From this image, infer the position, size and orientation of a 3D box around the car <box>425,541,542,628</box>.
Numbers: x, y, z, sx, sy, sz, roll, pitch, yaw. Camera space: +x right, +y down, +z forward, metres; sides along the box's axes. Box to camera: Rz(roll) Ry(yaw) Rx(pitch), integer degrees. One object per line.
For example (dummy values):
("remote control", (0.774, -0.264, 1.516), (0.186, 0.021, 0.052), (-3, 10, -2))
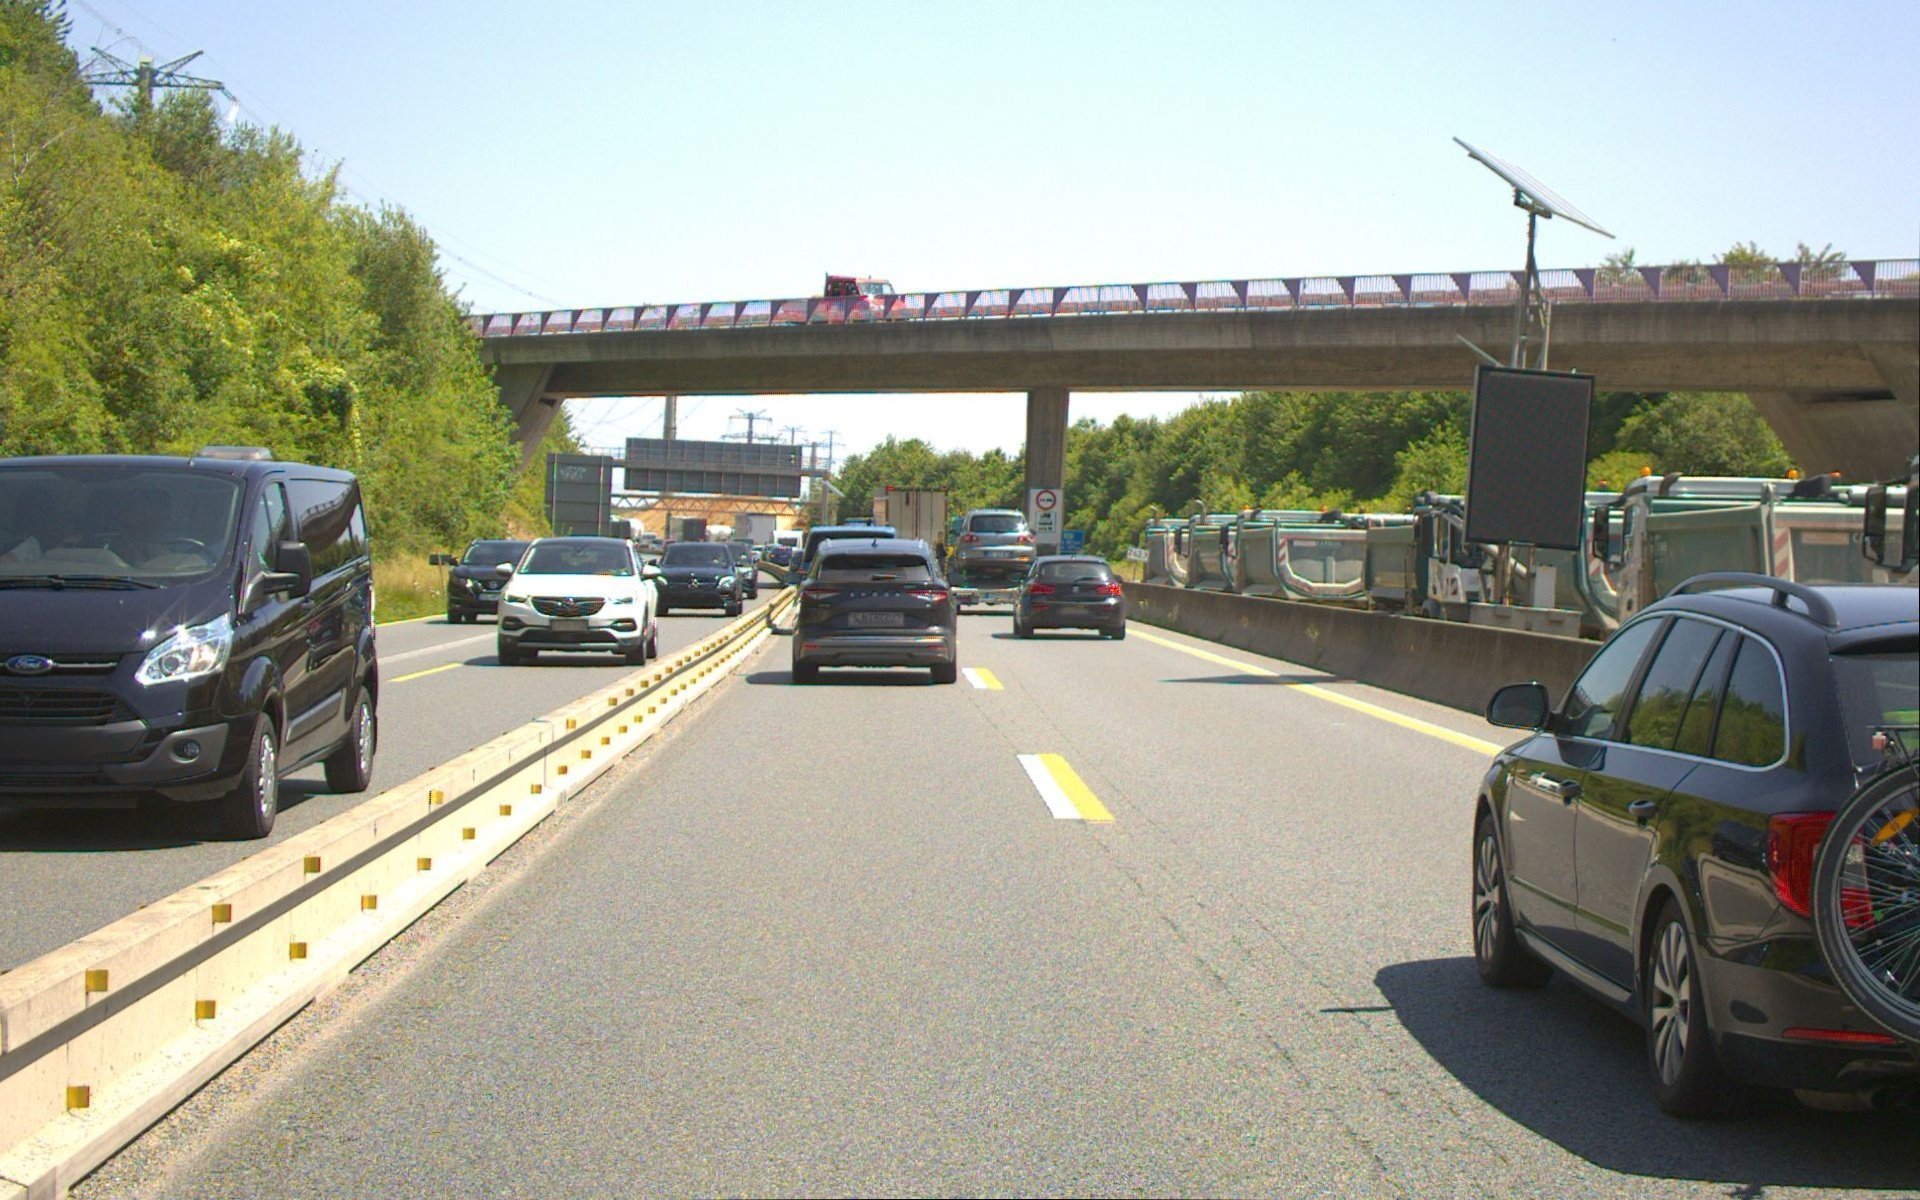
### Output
("car", (-9.035, -0.326, 65.422), (1.699, 1.560, 3.995), (2, 1, -1))

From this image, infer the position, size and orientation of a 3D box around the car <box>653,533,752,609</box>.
("car", (-5.554, -0.649, 74.586), (1.843, 1.528, 4.671), (2, 1, -1))

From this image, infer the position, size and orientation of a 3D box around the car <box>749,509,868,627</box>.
("car", (-2.628, -0.570, 60.374), (1.899, 1.962, 4.276), (1, 1, 0))

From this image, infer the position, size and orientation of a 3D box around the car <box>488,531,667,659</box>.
("car", (-4.866, -0.104, 44.311), (1.843, 1.528, 4.671), (1, 1, -1))

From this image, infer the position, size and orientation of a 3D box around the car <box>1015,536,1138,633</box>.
("car", (1.960, -0.285, 59.198), (1.899, 1.580, 4.276), (1, 1, -1))

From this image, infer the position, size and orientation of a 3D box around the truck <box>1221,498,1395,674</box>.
("truck", (7.887, -0.378, 79.087), (2.687, 3.748, 9.326), (1, 1, -2))

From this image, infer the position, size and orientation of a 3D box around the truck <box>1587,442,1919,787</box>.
("truck", (9.630, 0.079, 40.312), (2.687, 3.545, 9.407), (1, 1, 0))

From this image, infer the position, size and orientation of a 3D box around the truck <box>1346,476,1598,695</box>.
("truck", (8.940, -0.321, 61.194), (2.687, 3.545, 9.326), (1, 1, -2))

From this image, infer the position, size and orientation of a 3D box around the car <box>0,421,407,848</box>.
("car", (-4.352, 0.113, 18.788), (1.890, 2.007, 4.818), (1, 1, -1))

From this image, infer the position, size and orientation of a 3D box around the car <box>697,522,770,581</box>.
("car", (-6.546, -1.420, 99.901), (1.843, 1.605, 4.699), (2, 1, -1))

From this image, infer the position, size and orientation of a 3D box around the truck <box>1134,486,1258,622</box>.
("truck", (6.992, -1.402, 103.051), (2.687, 3.830, 9.326), (1, 1, -2))

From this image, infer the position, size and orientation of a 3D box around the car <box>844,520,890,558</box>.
("car", (-4.938, -3.206, 181.626), (1.899, 1.962, 4.277), (1, 1, -8))

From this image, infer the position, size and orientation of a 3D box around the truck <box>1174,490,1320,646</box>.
("truck", (7.459, -0.876, 90.590), (2.687, 3.842, 9.326), (1, 1, -2))

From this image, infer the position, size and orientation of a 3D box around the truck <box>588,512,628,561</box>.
("truck", (-23.392, -4.212, 228.032), (2.508, 3.175, 10.112), (1, 1, -6))

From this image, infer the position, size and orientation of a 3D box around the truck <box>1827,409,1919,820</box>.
("truck", (9.673, 0.177, 27.732), (2.687, 3.545, 9.603), (1, 1, -1))

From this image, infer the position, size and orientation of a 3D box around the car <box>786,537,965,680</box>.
("car", (-0.927, 0.064, 39.179), (1.899, 1.500, 4.276), (1, 1, 0))

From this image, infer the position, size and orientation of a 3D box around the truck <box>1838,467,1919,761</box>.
("truck", (12.360, 0.207, 38.084), (2.687, 3.366, 9.603), (1, 1, 0))

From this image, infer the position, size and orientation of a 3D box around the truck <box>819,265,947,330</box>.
("truck", (-2.935, -11.413, 129.900), (1.931, 2.059, 5.514), (1, 1, -37))

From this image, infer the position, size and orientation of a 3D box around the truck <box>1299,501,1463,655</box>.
("truck", (10.745, -0.616, 88.621), (2.687, 3.714, 9.326), (1, 1, -2))

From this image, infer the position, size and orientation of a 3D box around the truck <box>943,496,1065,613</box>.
("truck", (0.968, -1.100, 80.455), (2.405, 2.549, 7.501), (1, 1, -2))

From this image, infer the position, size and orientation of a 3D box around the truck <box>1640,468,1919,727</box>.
("truck", (12.380, -0.097, 49.846), (2.687, 3.366, 9.604), (1, 1, -2))

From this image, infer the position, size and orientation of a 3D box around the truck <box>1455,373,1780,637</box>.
("truck", (9.622, -1.370, 51.460), (2.687, 3.545, 9.326), (1, 1, -2))

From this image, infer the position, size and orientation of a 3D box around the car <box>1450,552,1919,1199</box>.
("car", (2.733, 0.638, 9.783), (1.899, 1.485, 4.948), (1, 1, 0))

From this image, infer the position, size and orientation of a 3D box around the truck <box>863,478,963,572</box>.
("truck", (-2.078, -3.188, 146.757), (3.292, 3.832, 10.112), (1, 1, -6))
